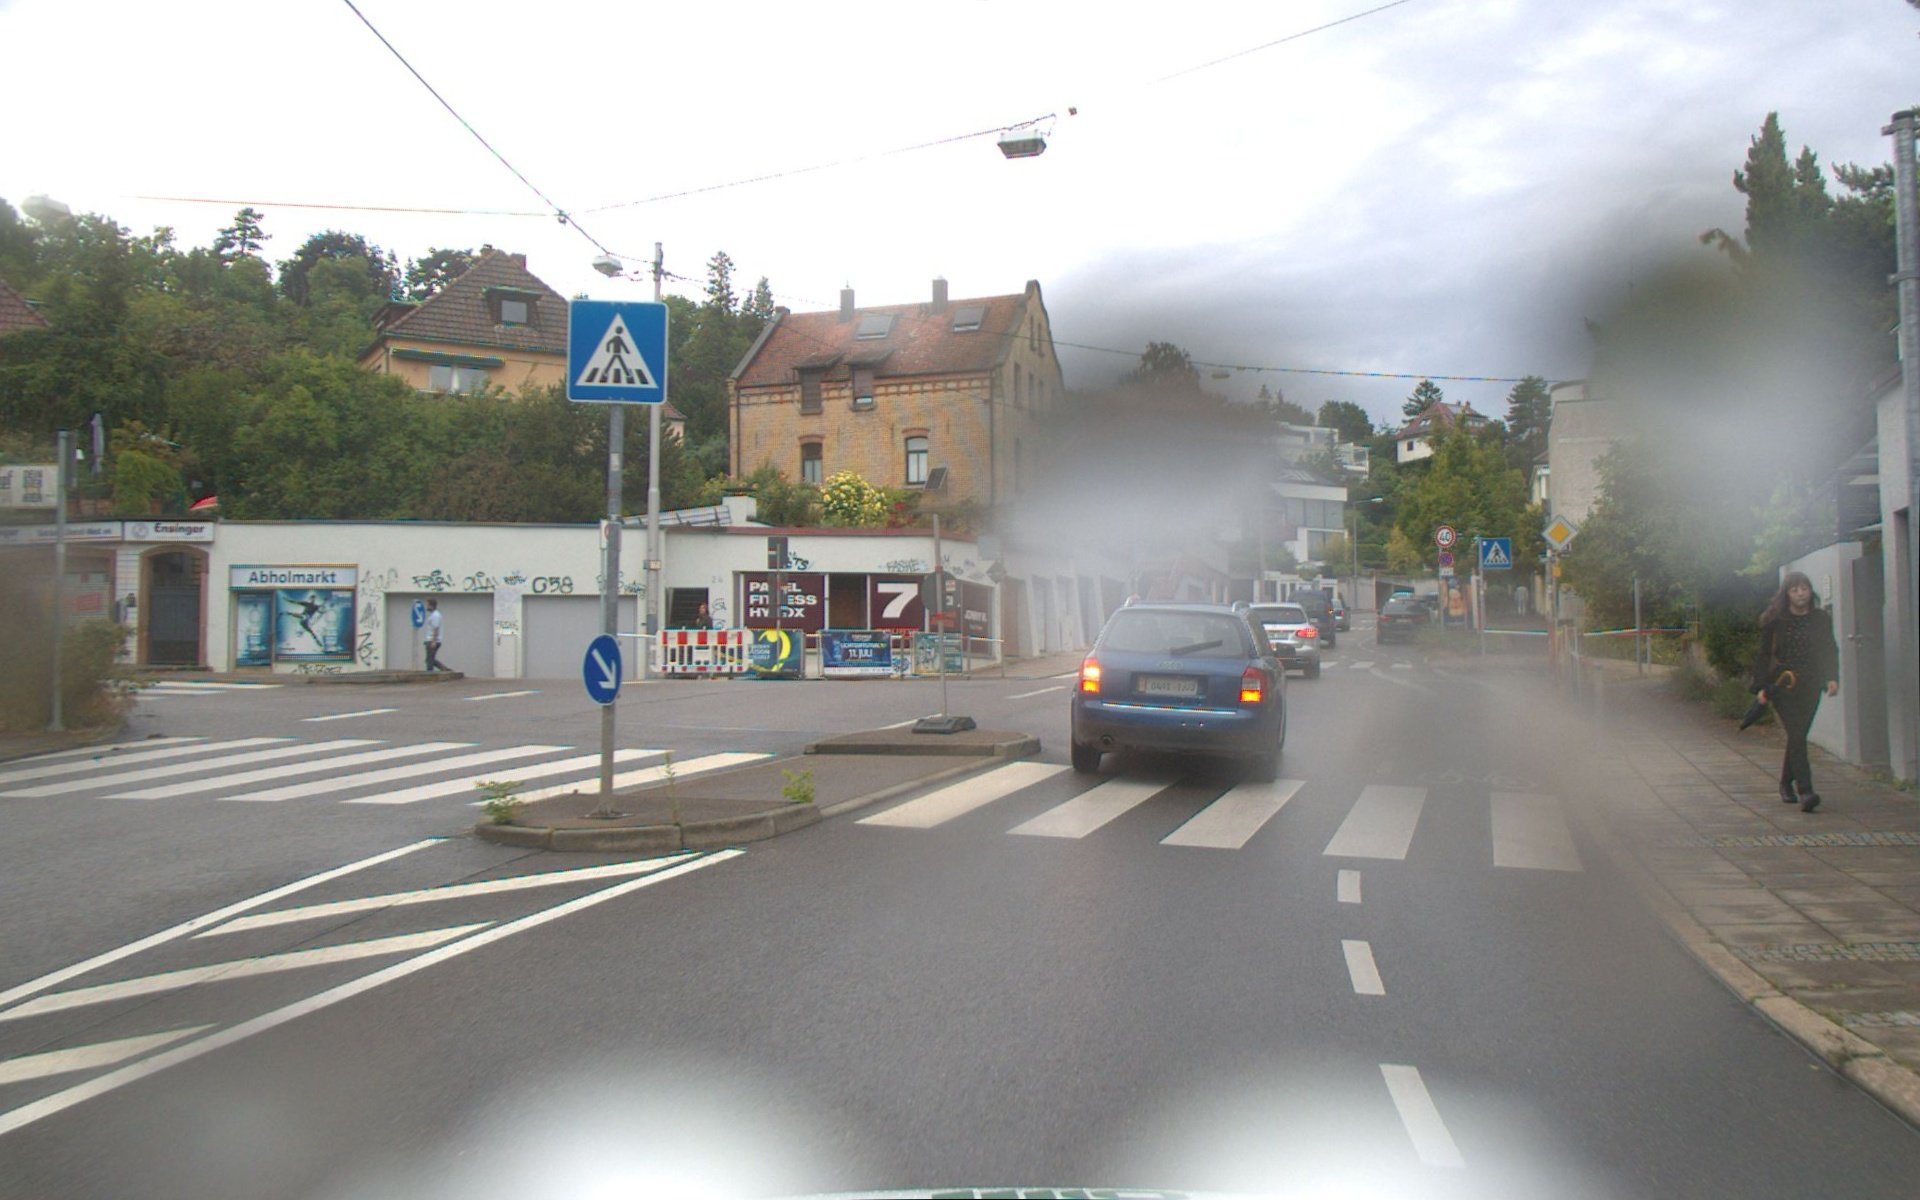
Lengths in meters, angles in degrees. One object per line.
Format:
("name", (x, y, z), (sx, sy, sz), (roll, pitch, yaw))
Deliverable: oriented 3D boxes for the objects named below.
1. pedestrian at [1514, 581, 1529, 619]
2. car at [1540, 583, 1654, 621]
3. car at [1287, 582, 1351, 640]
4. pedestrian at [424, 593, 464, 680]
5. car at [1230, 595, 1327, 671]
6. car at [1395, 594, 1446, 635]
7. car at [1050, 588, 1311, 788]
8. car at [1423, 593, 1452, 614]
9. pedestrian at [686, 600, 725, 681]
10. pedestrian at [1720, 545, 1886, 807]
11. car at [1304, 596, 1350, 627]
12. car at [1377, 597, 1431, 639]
("pedestrian", (27.015, 0.000, 79.591), (0.625, 1.826, 0.745), (-1, 0, 15))
("car", (24.911, 0.092, 64.686), (3.915, 1.440, 1.721), (0, 0, 32))
("car", (11.926, 0.356, 54.766), (1.785, 1.851, 4.003), (-1, 0, 16))
("pedestrian", (-11.115, 0.782, 35.626), (0.691, 1.837, 0.807), (1, -1, -10))
("car", (6.370, 0.681, 33.054), (1.772, 1.384, 4.003), (1, -2, 11))
("car", (17.473, 0.538, 62.903), (1.679, 1.476, 3.836), (-1, 0, 13))
("car", (2.086, 0.646, 14.636), (1.773, 1.464, 4.085), (0, 1, 15))
("car", (29.436, 0.215, 101.905), (1.438, 1.276, 3.582), (-1, 0, 21))
("pedestrian", (-5.519, 0.873, 35.811), (0.578, 1.719, 0.618), (-1, -2, -38))
("pedestrian", (5.936, 0.525, 11.709), (0.786, 1.752, 1.061), (-2, -1, 16))
("car", (16.537, 0.512, 74.423), (1.785, 1.319, 4.003), (-1, 0, 16))
("car", (15.492, 0.602, 57.841), (1.733, 1.401, 4.352), (-1, 0, 14))
